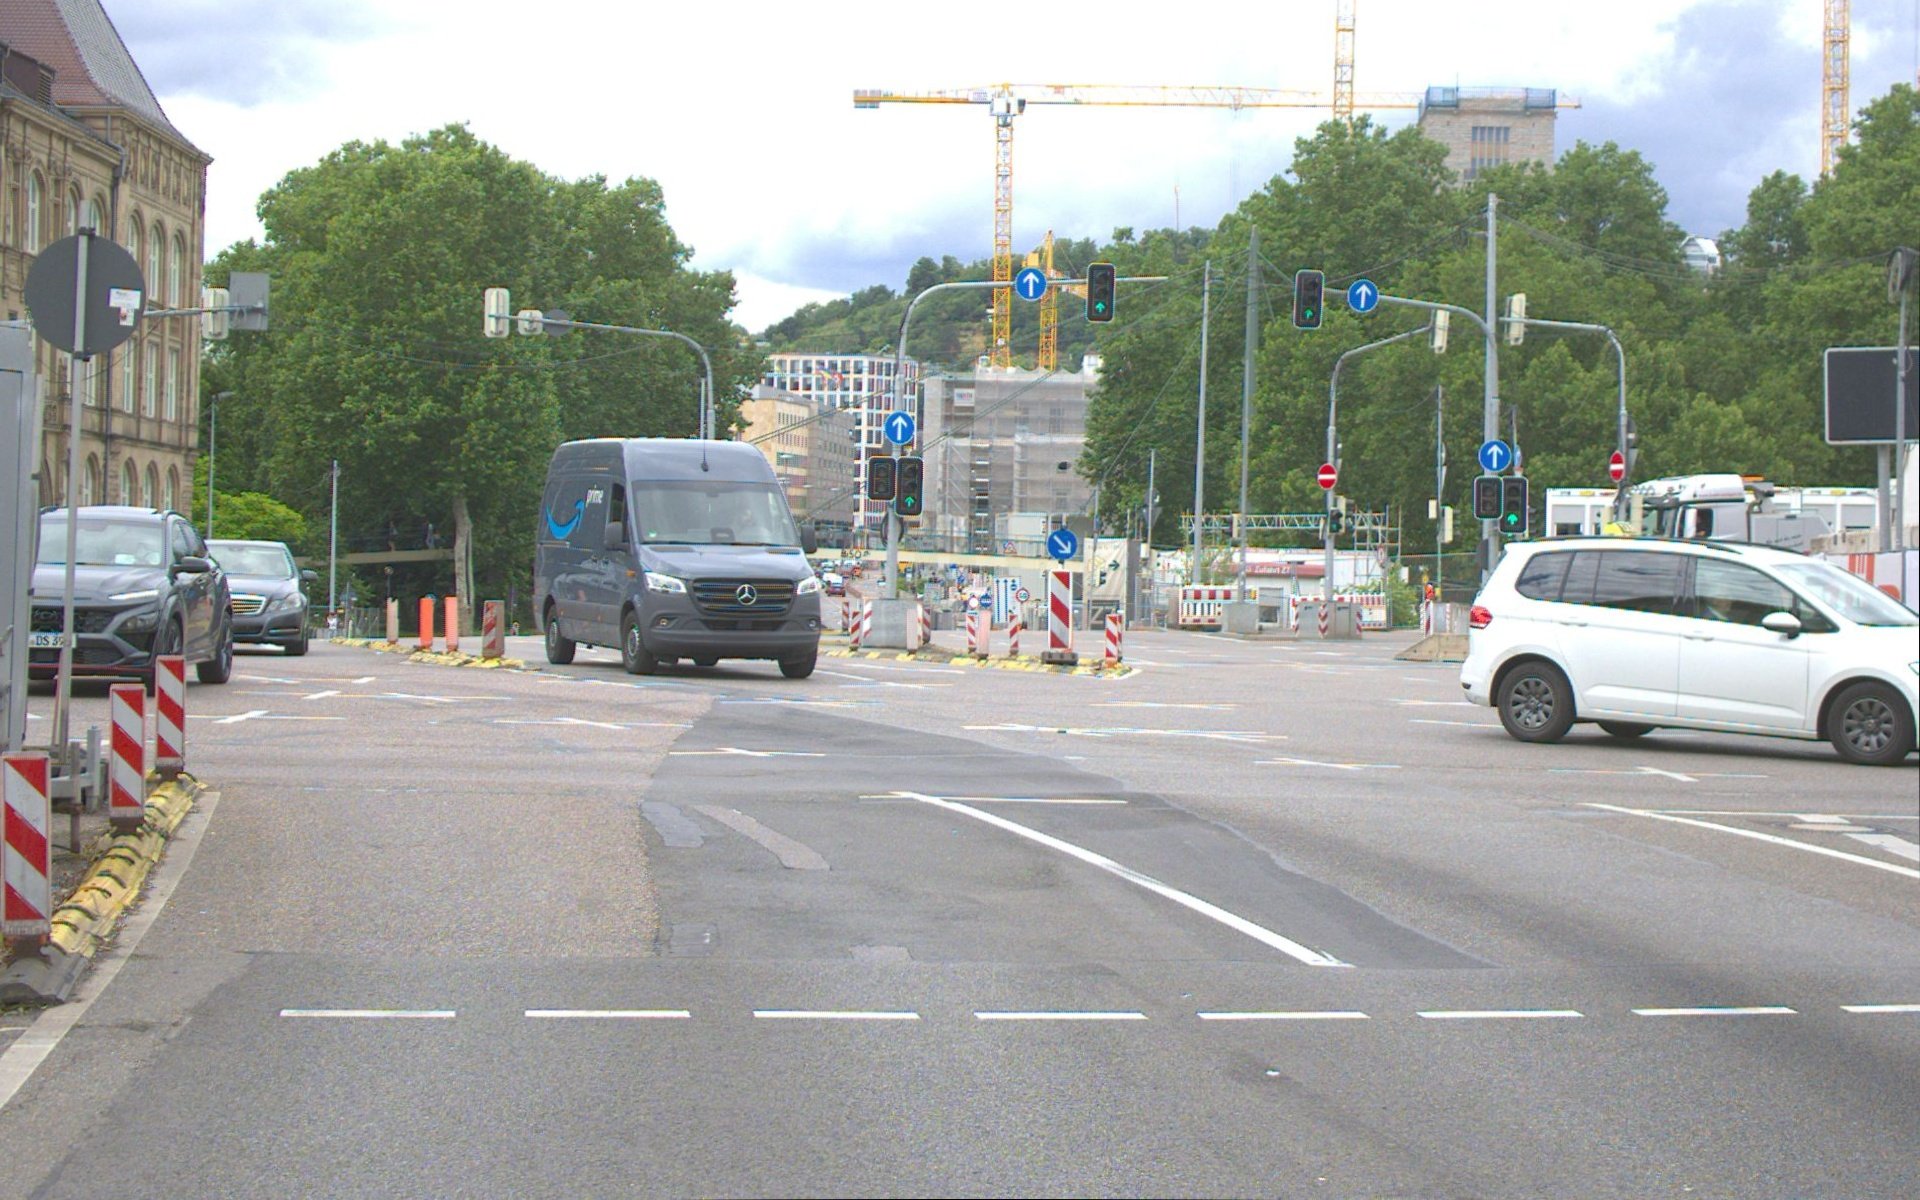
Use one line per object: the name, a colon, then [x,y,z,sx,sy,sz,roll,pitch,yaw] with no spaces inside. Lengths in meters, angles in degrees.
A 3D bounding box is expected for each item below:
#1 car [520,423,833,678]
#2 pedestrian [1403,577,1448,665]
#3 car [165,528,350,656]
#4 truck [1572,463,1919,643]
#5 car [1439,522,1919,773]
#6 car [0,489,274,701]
car: [-3.270,-0.579,38.256,2.056,2.585,6.016,1,1,-18]
pedestrian: [9.132,0.411,67.443,0.729,1.683,0.678,1,1,-1]
car: [-8.858,-0.132,43.646,1.706,1.508,4.289,1,1,-4]
truck: [21.362,-1.062,81.999,13.022,4.027,3.952,1,1,-20]
car: [6.153,0.320,26.735,4.440,1.730,1.880,3,2,40]
car: [-7.278,-0.097,29.686,1.878,1.664,4.445,1,1,-1]
